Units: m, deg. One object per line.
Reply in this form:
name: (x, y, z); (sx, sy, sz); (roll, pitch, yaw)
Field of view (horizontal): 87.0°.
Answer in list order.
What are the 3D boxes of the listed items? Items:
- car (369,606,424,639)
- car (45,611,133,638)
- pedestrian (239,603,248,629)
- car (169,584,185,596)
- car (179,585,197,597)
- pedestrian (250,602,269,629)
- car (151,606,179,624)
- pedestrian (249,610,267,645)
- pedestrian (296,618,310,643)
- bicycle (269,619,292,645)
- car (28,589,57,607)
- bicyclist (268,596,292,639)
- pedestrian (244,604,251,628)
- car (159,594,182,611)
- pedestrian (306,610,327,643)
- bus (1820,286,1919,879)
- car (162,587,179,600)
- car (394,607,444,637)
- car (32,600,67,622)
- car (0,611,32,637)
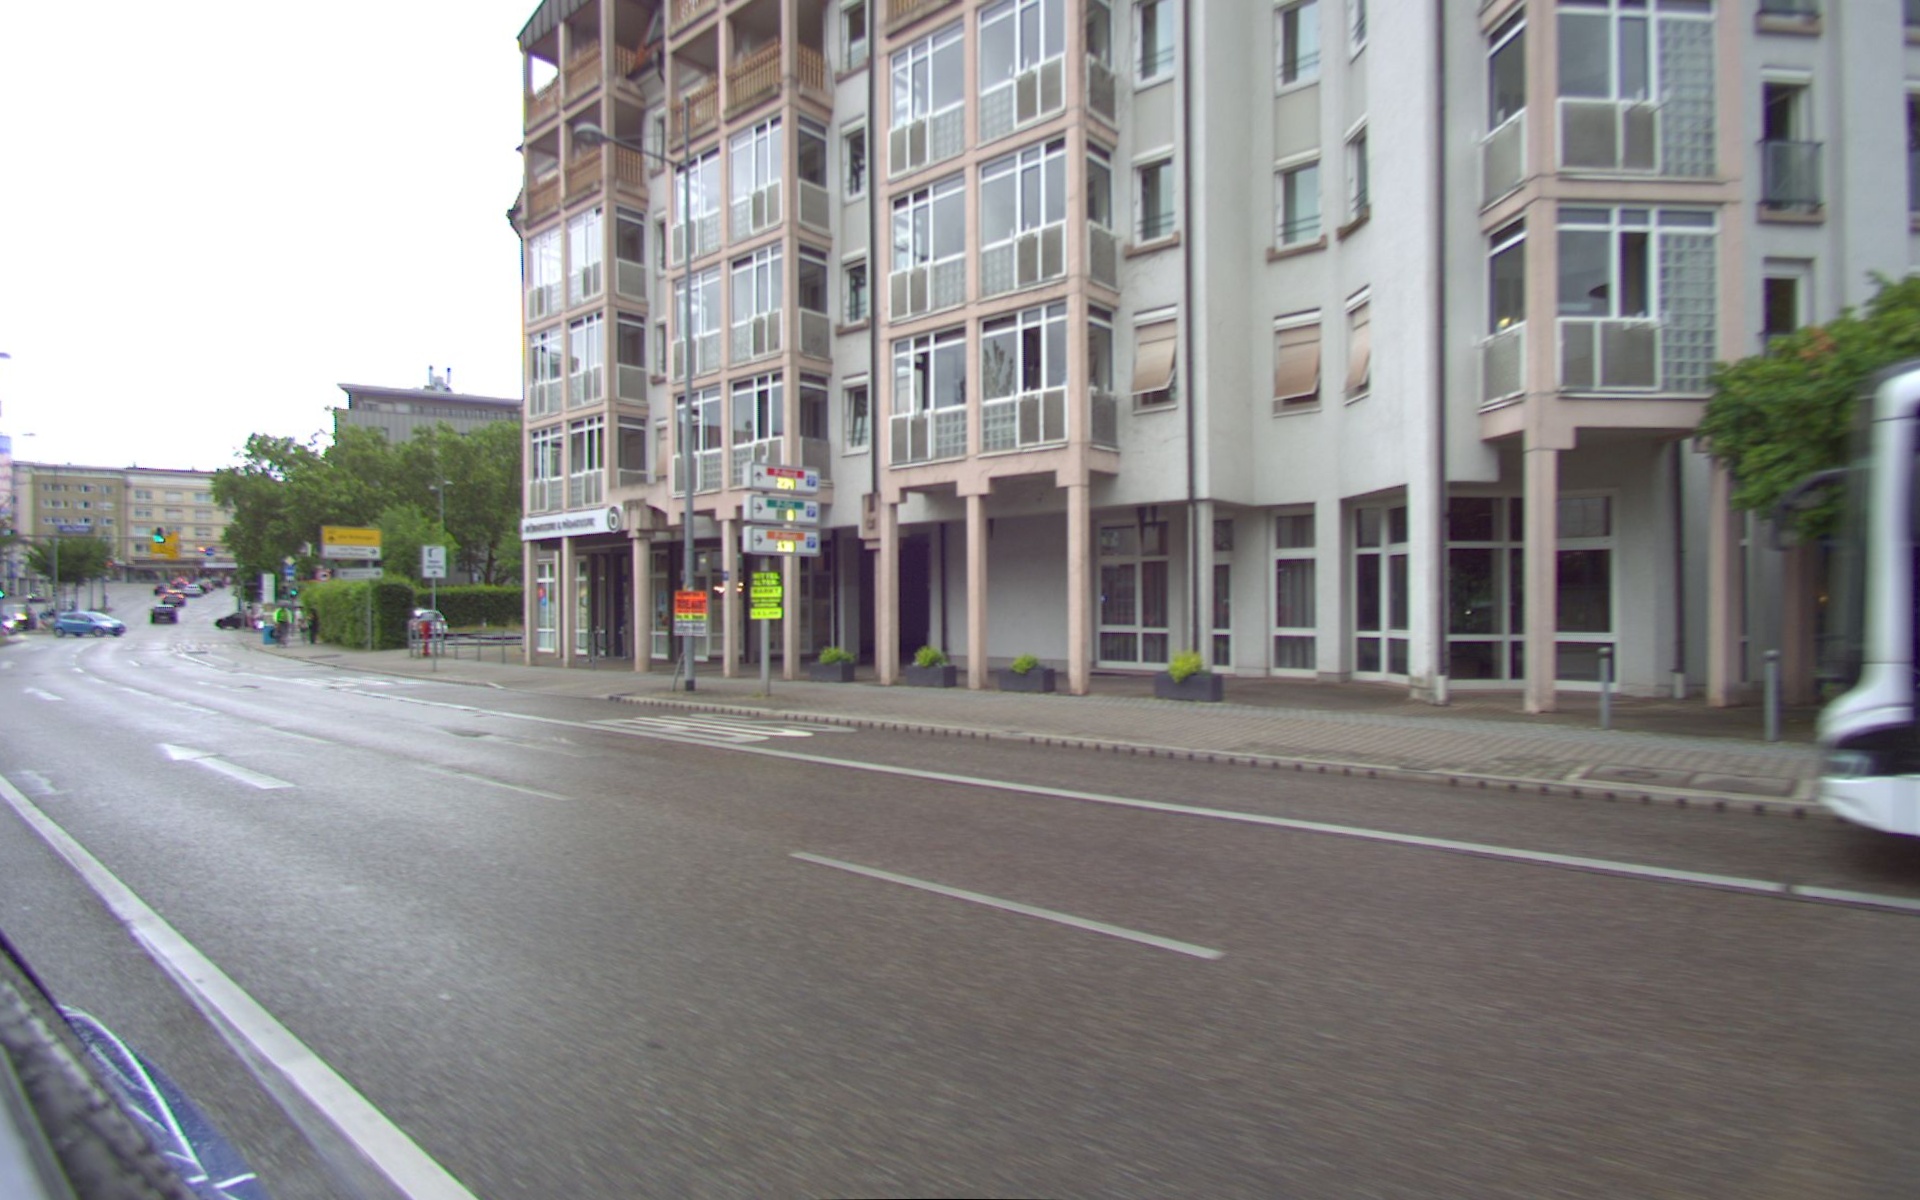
car: (-27.283, 1.080, 48.981); (1.575, 1.550, 3.605); (-1, 0, -41)
car: (-51.788, 1.454, 60.241); (3.633, 1.485, 1.703); (-2, -1, -6)
pedestrian: (-52.952, 1.172, 74.793); (0.441, 1.850, 0.677); (-1, 3, -41)
car: (-108.888, -1.377, 140.745); (1.691, 1.490, 3.966); (2, 0, -37)
car: (-95.888, -1.123, 125.747); (1.650, 1.527, 3.652); (1, 0, -36)
pedestrian: (-51.332, 1.157, 74.164); (0.824, 1.920, 0.852); (-1, 1, 30)
car: (-66.745, 1.248, 85.002); (1.734, 1.431, 4.106); (2, 0, -37)
pedestrian: (-35.781, 1.385, 51.570); (0.528, 1.778, 0.622); (-1, 0, 41)
pedestrian: (-31.344, 1.439, 48.249); (0.463, 1.159, 0.502); (0, -1, -45)
bicycle: (-30.714, 1.419, 45.730); (0.642, 1.118, 2.062); (-1, 0, -39)
car: (-99.828, -0.263, 110.132); (1.803, 1.749, 4.011); (1, 2, -35)
bicyclist: (-30.677, 0.800, 45.672); (0.781, 1.904, 0.955); (-1, 0, -40)
pedestrian: (-53.519, 1.221, 75.998); (0.406, 1.777, 0.678); (-1, -1, -38)
car: (-84.077, 0.201, 107.786); (1.803, 1.749, 4.320); (0, 1, -37)
pedestrian: (-30.725, 1.252, 48.330); (0.565, 1.571, 0.706); (-2, -1, 45)
bus: (10.188, -0.304, 2.428); (12.234, 3.099, 2.715); (-3, -1, 42)
car: (-98.995, -0.834, 126.918); (1.602, 1.567, 3.667); (0, 0, -38)
car: (-29.008, 1.165, 54.256); (1.575, 1.550, 3.605); (-1, 0, -41)
car: (-80.507, 0.931, 89.524); (1.803, 1.749, 4.011); (1, 2, -35)
car: (-61.036, 1.532, 64.993); (1.742, 1.420, 4.008); (-2, 3, -38)
